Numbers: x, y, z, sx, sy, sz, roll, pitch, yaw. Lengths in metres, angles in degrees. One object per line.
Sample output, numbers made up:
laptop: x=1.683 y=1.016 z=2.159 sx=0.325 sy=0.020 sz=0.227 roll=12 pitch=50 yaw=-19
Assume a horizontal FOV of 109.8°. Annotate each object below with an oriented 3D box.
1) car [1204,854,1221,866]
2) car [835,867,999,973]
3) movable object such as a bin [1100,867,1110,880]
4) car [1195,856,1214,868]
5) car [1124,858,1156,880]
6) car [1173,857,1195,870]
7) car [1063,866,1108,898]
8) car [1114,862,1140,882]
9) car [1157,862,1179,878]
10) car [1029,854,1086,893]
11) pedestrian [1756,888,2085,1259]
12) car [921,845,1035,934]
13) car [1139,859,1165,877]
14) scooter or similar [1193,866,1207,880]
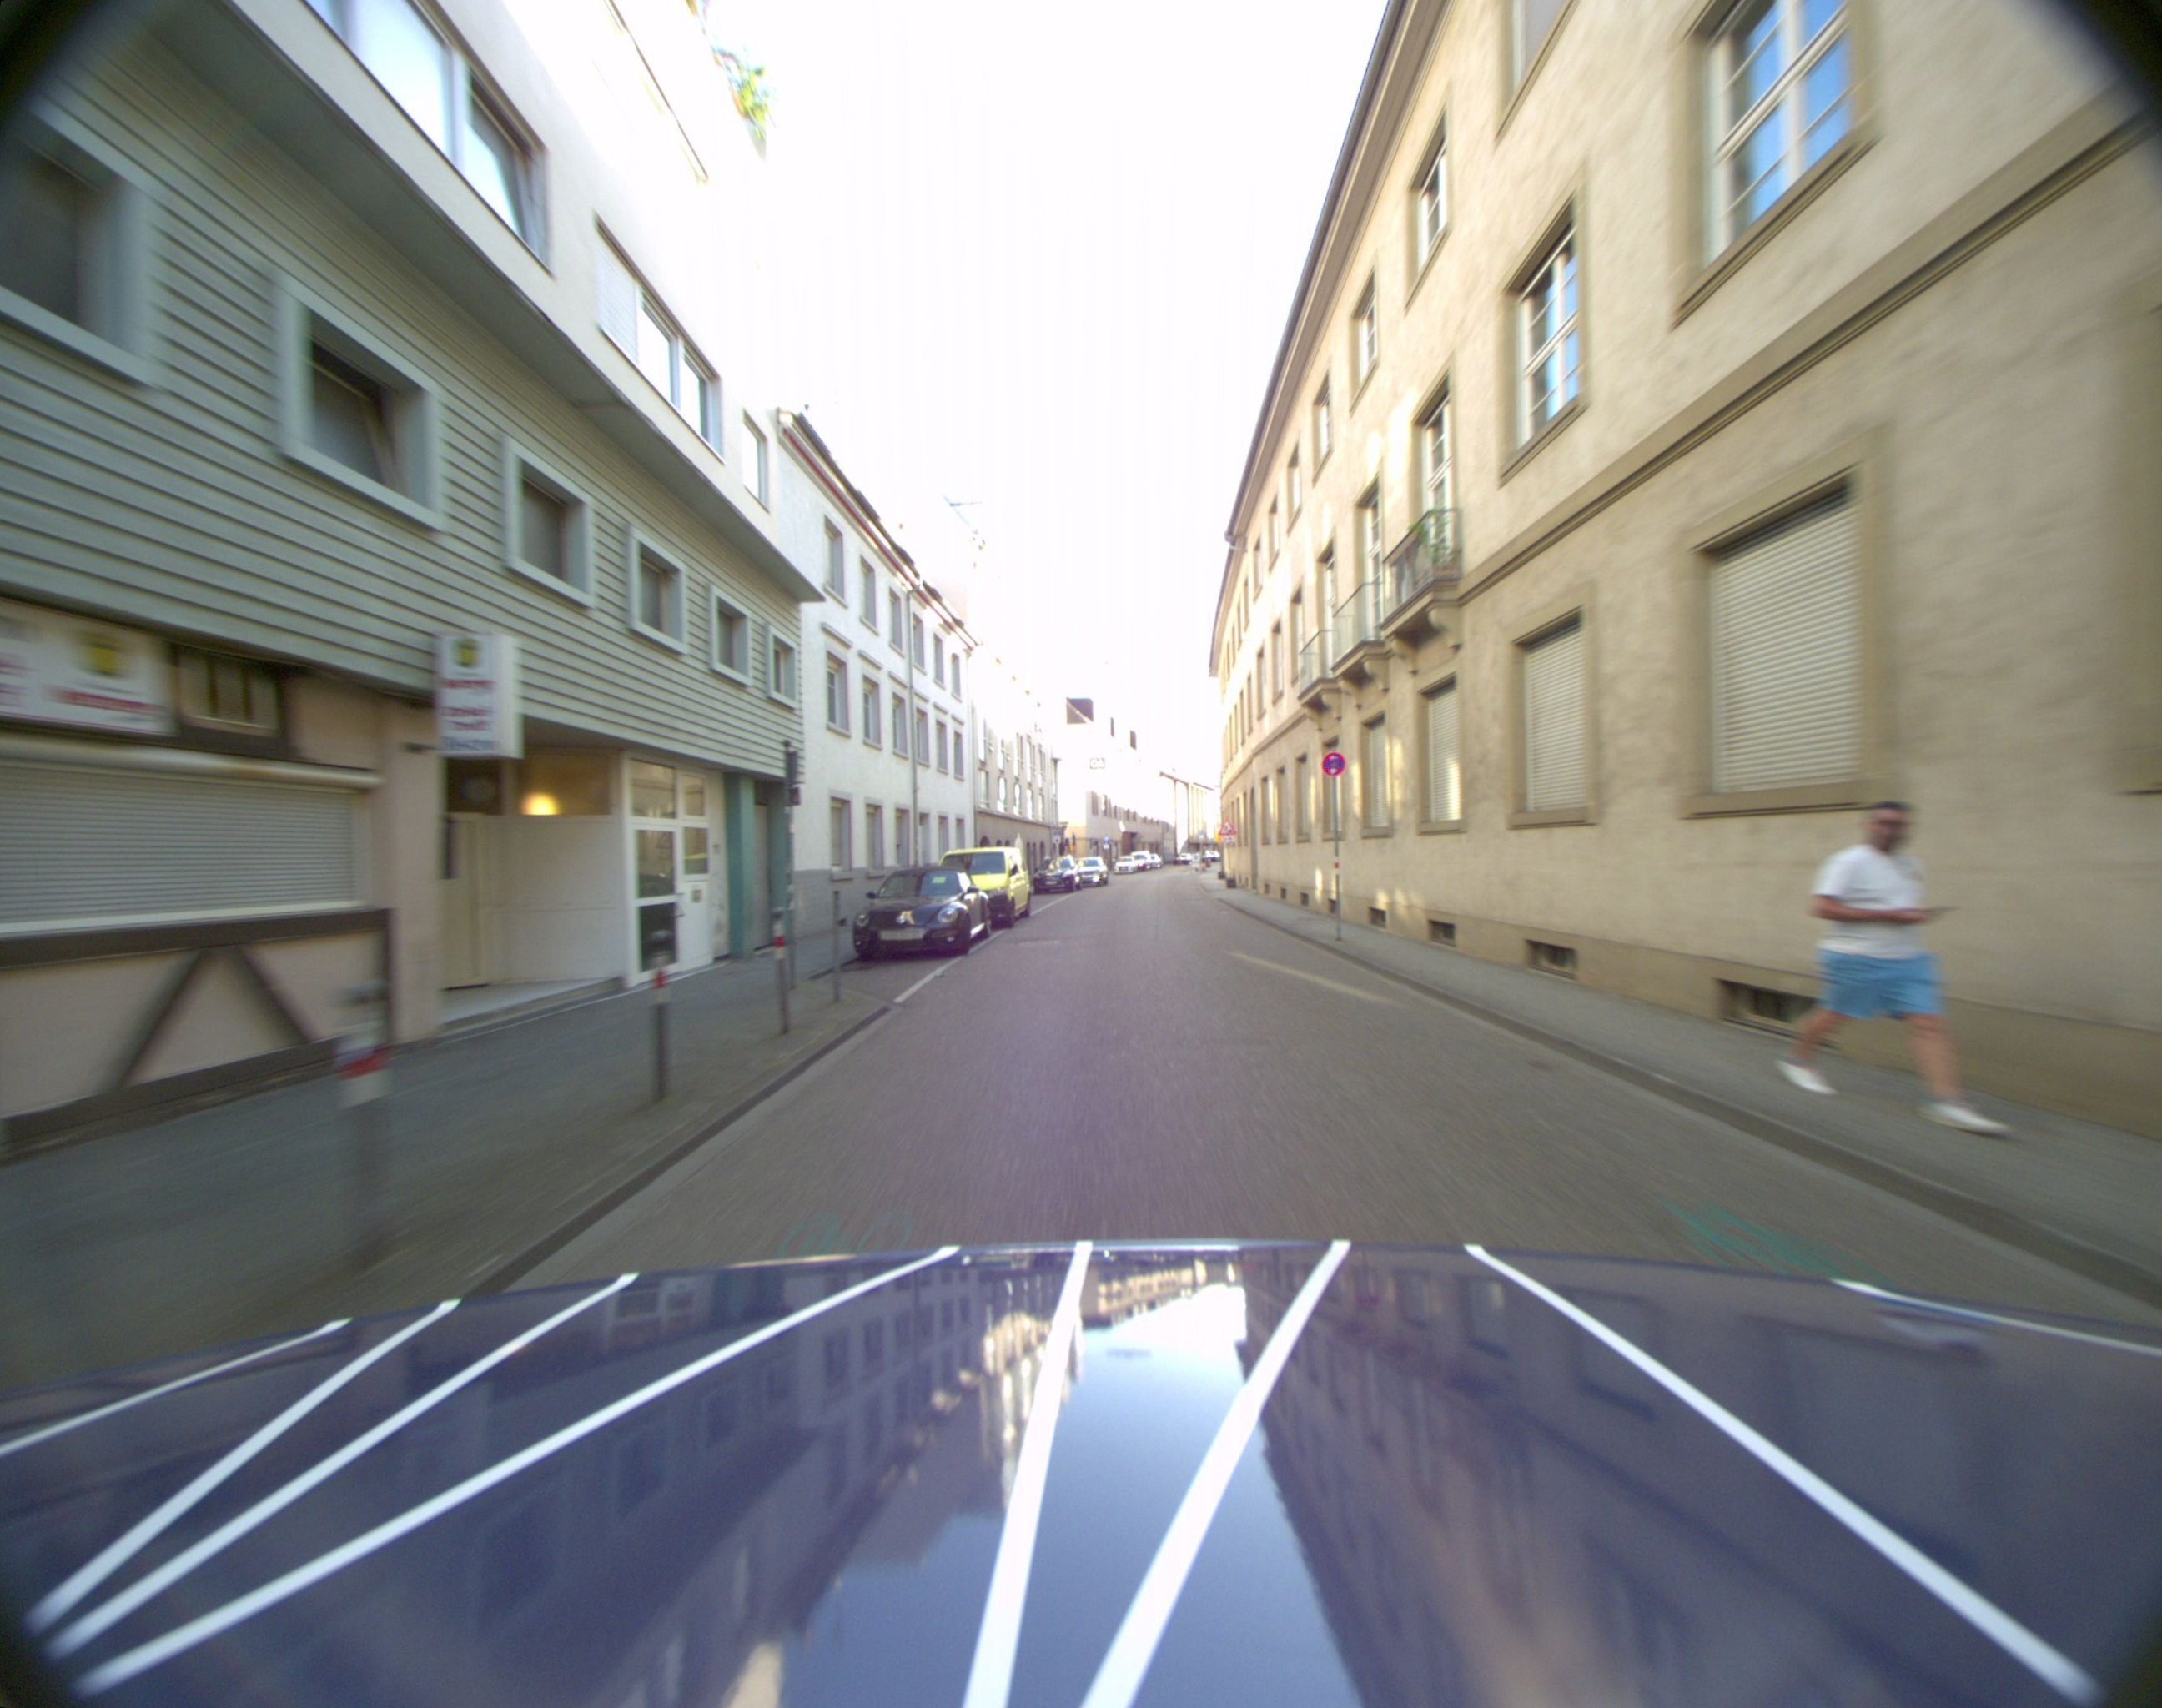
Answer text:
car: x=20.131 y=0.912 z=116.153 sx=1.963 sy=1.636 sz=4.202 roll=-3 pitch=0 yaw=18
car: x=-2.700 y=1.033 z=13.601 sx=1.888 sy=1.480 sz=4.368 roll=-2 pitch=0 yaw=1
movable object such as a bin: x=2.093 y=1.717 z=67.339 sx=0.687 sy=1.079 sz=0.930 roll=-2 pitch=0 yaw=11
car: x=17.736 y=1.088 z=109.170 sx=1.963 sy=1.527 sz=4.202 roll=-3 pitch=0 yaw=18
car: x=5.644 y=1.399 z=71.988 sx=1.946 sy=1.850 sz=5.200 roll=-5 pitch=-1 yaw=15
car: x=13.261 y=1.206 z=97.404 sx=1.963 sy=1.399 sz=4.202 roll=-3 pitch=0 yaw=18
car: x=0.291 y=1.455 z=40.366 sx=1.828 sy=1.550 sz=3.989 roll=-2 pitch=0 yaw=8
car: x=4.018 y=1.518 z=65.591 sx=1.734 sy=1.539 sz=4.003 roll=-2 pitch=-1 yaw=10
car: x=10.022 y=1.810 z=87.243 sx=1.774 sy=1.574 sz=3.861 roll=-5 pitch=-1 yaw=17
car: x=-1.008 y=0.861 z=35.124 sx=1.828 sy=1.645 sz=4.496 roll=-2 pitch=0 yaw=8
pedestrian: x=4.280 y=1.043 z=3.961 sx=0.694 sy=1.660 sz=0.875 roll=-3 pitch=0 yaw=3
car: x=-2.392 y=0.792 z=19.001 sx=1.887 sy=1.871 sz=4.847 roll=-2 pitch=0 yaw=3
car: x=7.271 y=1.413 z=77.542 sx=1.774 sy=1.574 sz=3.861 roll=-5 pitch=-1 yaw=15
scooter or similar: x=10.333 y=1.633 z=65.869 sx=1.302 sy=1.217 sz=0.467 roll=1 pitch=0 yaw=-41
